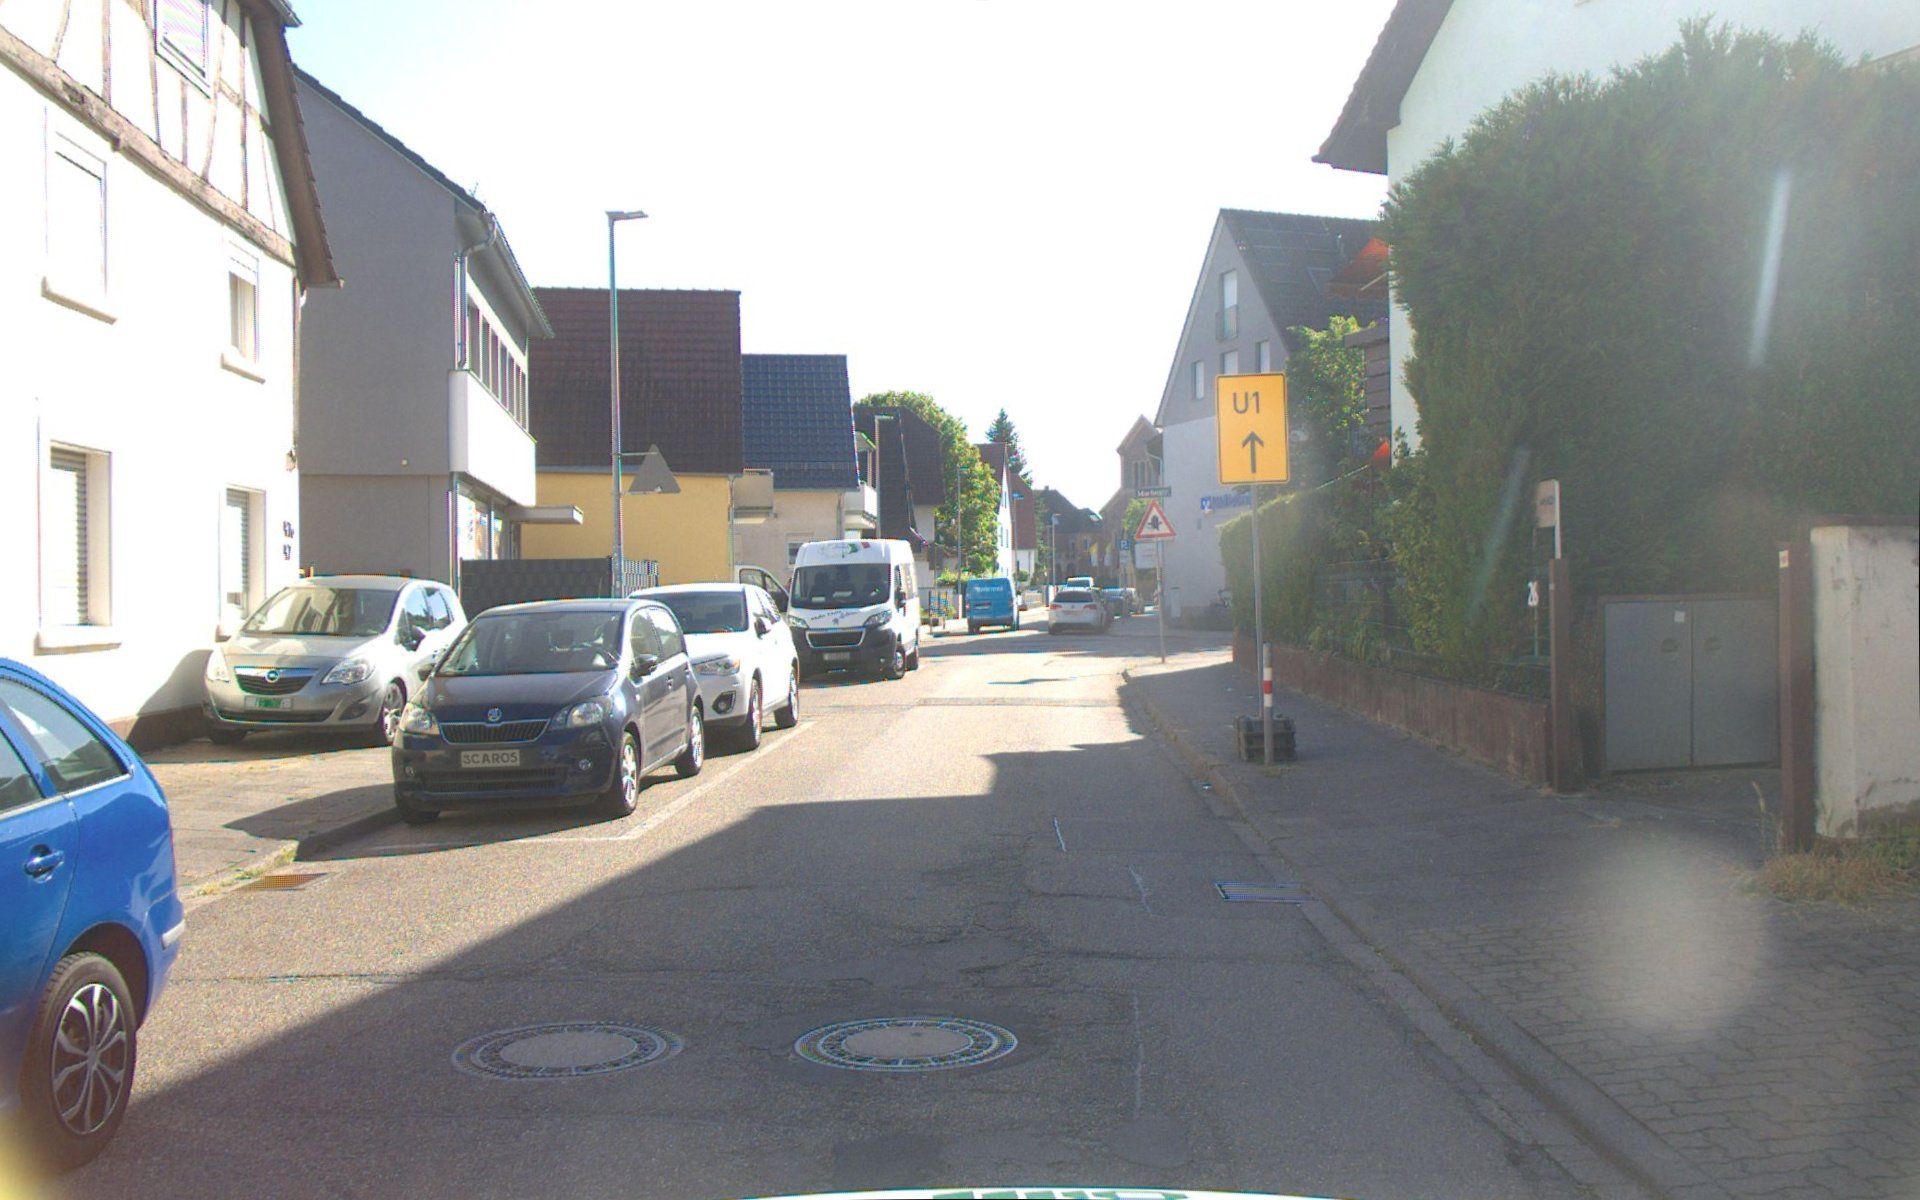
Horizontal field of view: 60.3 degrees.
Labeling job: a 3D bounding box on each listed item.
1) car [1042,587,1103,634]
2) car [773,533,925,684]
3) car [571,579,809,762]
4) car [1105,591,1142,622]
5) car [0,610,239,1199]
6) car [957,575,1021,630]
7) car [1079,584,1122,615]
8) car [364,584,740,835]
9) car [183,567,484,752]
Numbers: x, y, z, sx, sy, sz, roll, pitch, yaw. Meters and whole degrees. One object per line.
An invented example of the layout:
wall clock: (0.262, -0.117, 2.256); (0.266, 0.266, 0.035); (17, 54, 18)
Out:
car: (3.716, 0.386, 55.225); (1.806, 1.437, 4.000); (1, -2, 1)
car: (-1.907, 0.130, 30.236); (2.033, 2.436, 5.211); (-3, 0, 3)
car: (-2.658, 0.632, 17.137); (1.639, 1.599, 3.966); (-3, 0, 2)
car: (9.184, 0.403, 92.697); (1.889, 1.598, 4.002); (1, -2, 8)
car: (-3.030, 0.787, 3.148); (1.606, 1.466, 4.073); (-2, 0, -2)
car: (1.023, 0.061, 60.744); (1.882, 1.833, 4.777); (-3, 1, -3)
car: (7.021, -0.002, 82.309); (1.805, 1.437, 4.003); (1, -2, 9)
car: (-2.919, 0.707, 12.770); (1.668, 1.545, 4.123); (-3, 0, 2)
car: (-6.162, 0.508, 16.756); (1.687, 1.624, 4.014); (1, 1, -3)
